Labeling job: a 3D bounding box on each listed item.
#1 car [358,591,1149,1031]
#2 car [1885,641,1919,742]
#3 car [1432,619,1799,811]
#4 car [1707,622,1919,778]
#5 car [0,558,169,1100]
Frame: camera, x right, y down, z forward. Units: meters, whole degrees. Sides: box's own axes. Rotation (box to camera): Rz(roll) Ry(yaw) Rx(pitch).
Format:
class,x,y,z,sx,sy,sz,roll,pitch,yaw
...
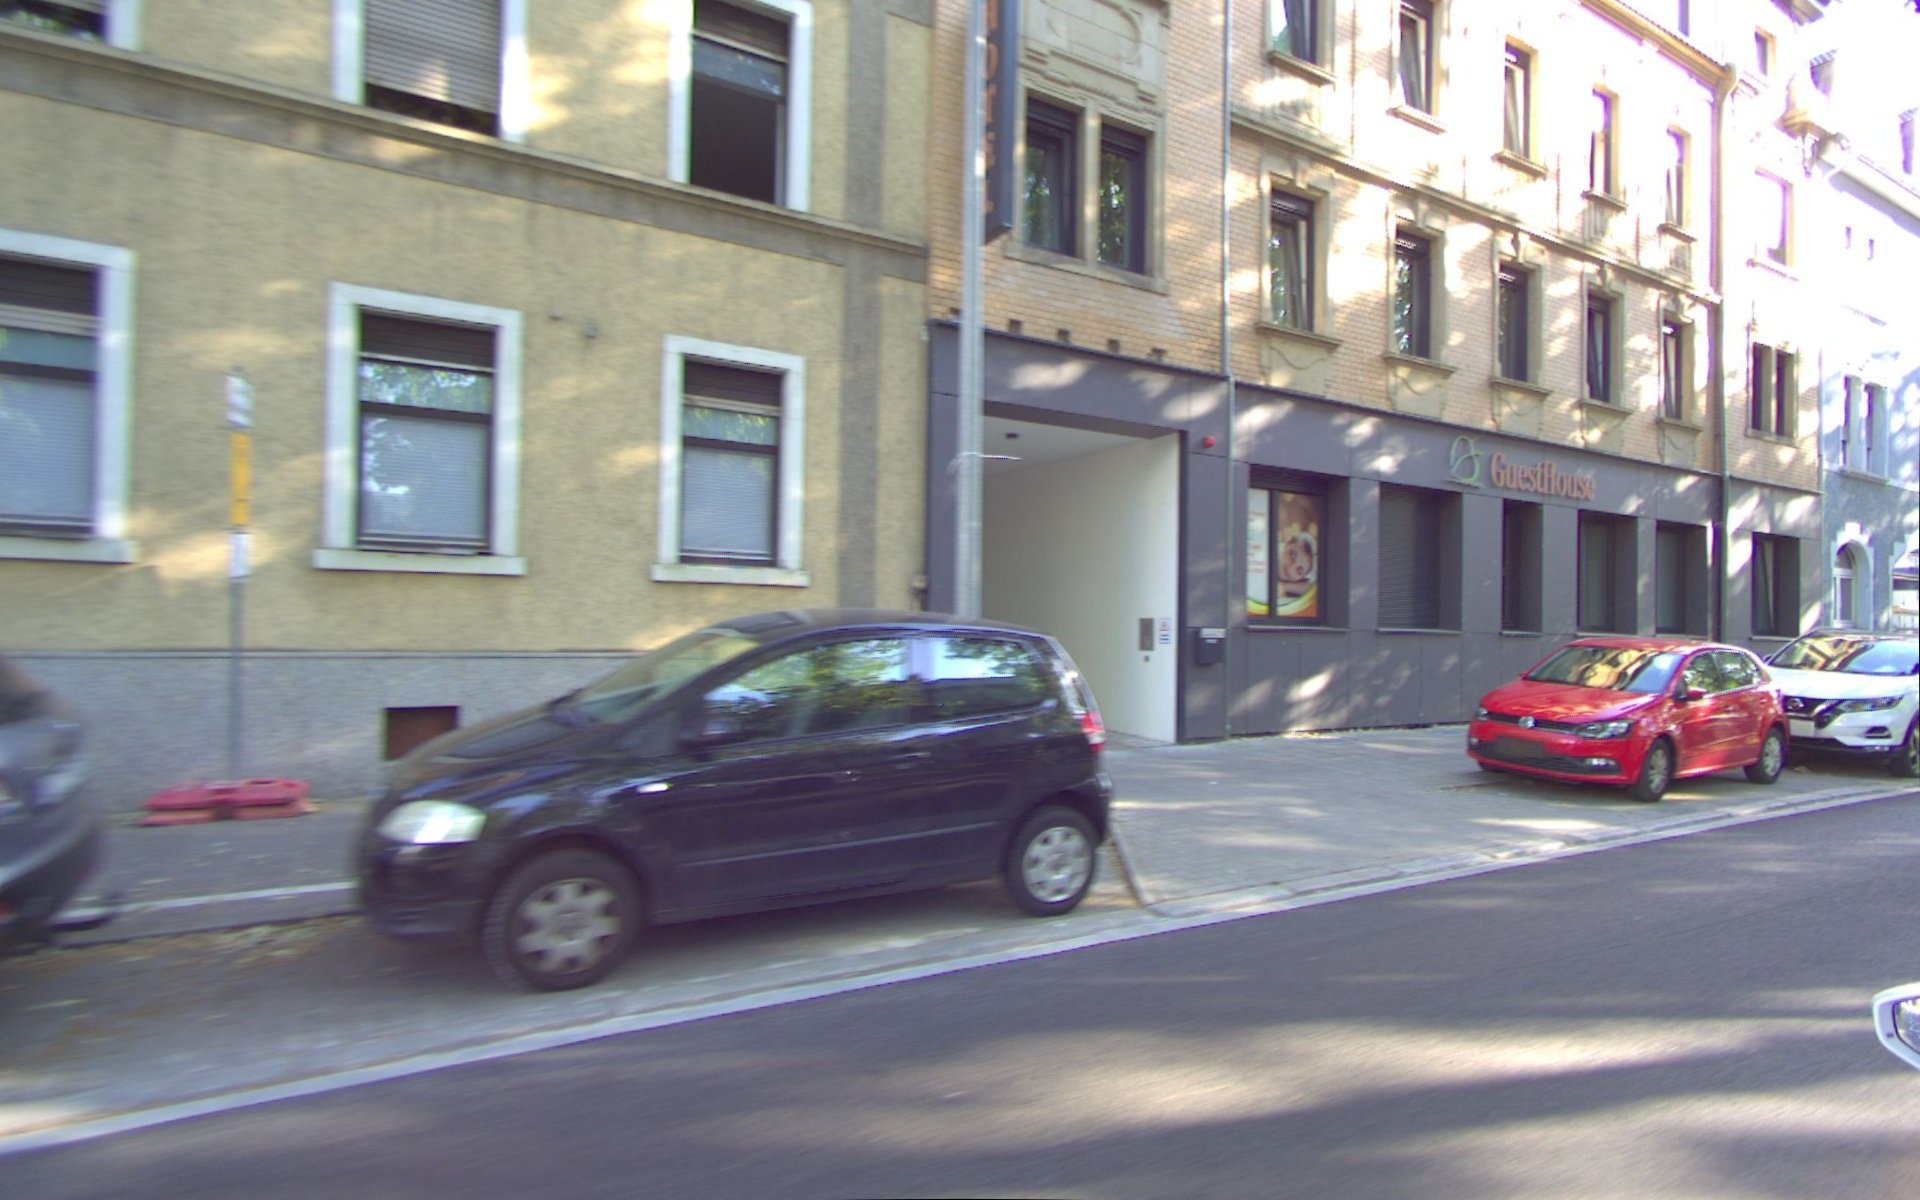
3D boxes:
class,x,y,z,sx,sy,sz,roll,pitch,yaw
car,-0.984,0.824,5.336,3.659,1.626,1.671,2,0,-28
car,16.491,1.452,15.882,3.826,1.516,1.670,2,0,-30
car,6.806,1.055,10.366,3.712,1.613,1.670,2,0,-30
car,11.263,1.131,12.485,4.150,1.606,1.670,2,0,-30
car,-5.087,0.654,2.923,4.107,1.695,1.773,2,0,-30
